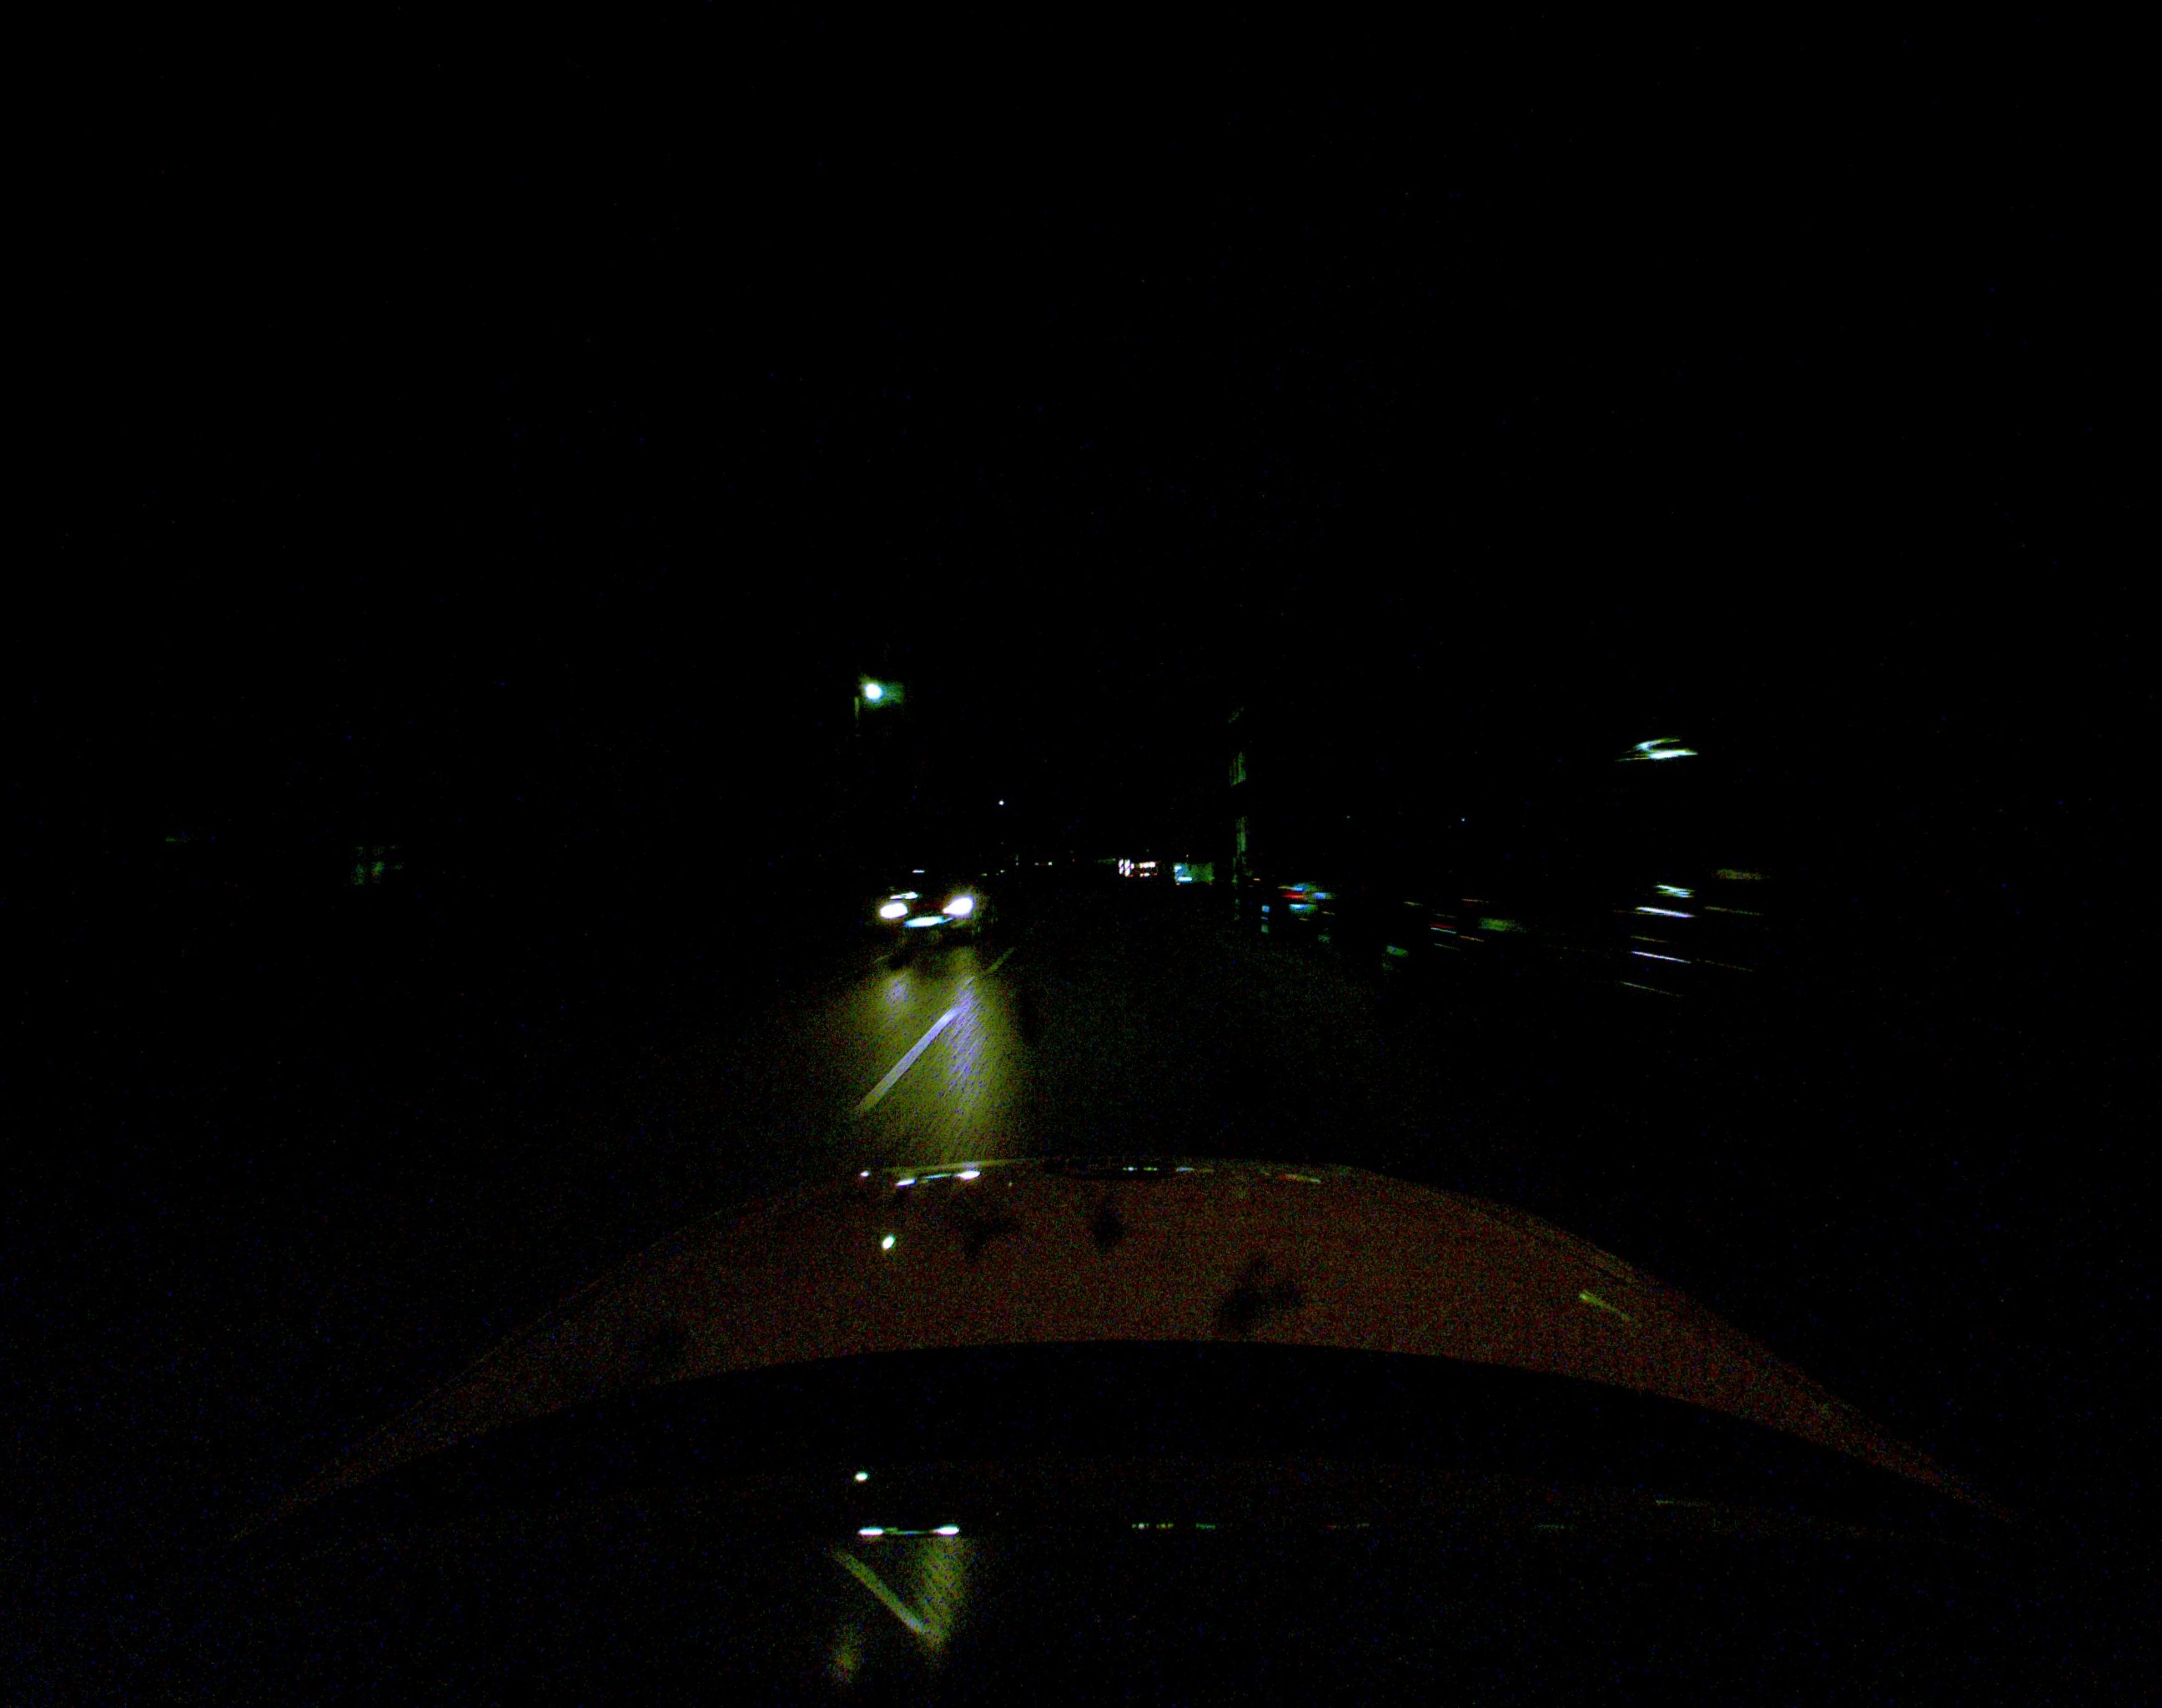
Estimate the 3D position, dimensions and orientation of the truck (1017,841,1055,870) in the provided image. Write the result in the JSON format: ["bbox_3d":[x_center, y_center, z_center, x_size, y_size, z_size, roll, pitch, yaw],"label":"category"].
[{"bbox_3d":[-6.425,0.292,114.947,2.764,3.783,9.076,-2,0,-20],"label":"truck"}]

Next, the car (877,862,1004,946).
[{"bbox_3d":[-2.770,0.933,16.983,1.851,1.420,4.000,-3,0,0],"label":"car"}]

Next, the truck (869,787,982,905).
[{"bbox_3d":[-6.004,-0.262,33.143,2.738,4.034,9.556,-2,0,-1],"label":"truck"}]

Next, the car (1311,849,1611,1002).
[{"bbox_3d":[4.246,0.678,10.009,1.762,1.412,4.554,-2,0,4],"label":"car"}]

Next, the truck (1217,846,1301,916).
[{"bbox_3d":[4.606,0.664,21.539,1.366,1.644,3.812,-2,0,0],"label":"truck"}]

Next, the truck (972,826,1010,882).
[{"bbox_3d":[-7.337,0.024,66.744,2.769,4.120,9.321,-2,0,-6],"label":"truck"}]

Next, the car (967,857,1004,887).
[{"bbox_3d":[-6.007,1.112,51.941,1.939,1.717,5.192,-2,0,-3],"label":"car"}]

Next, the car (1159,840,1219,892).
[{"bbox_3d":[4.615,0.496,35.559,1.986,2.013,4.913,-2,0,1],"label":"car"}]

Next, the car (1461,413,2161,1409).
[{"bbox_3d":[3.875,0.154,3.670,1.984,2.526,5.917,1,0,5],"label":"car"}]

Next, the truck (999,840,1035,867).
[{"bbox_3d":[-9.820,-0.031,124.644,2.765,3.783,10.155,-2,0,-20],"label":"truck"}]

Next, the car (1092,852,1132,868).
[{"bbox_3d":[3.674,0.732,98.015,4.343,1.646,1.879,-5,1,-21],"label":"car"}]

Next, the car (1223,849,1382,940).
[{"bbox_3d":[4.200,0.690,16.337,1.939,1.489,5.013,-2,0,2],"label":"car"}]
